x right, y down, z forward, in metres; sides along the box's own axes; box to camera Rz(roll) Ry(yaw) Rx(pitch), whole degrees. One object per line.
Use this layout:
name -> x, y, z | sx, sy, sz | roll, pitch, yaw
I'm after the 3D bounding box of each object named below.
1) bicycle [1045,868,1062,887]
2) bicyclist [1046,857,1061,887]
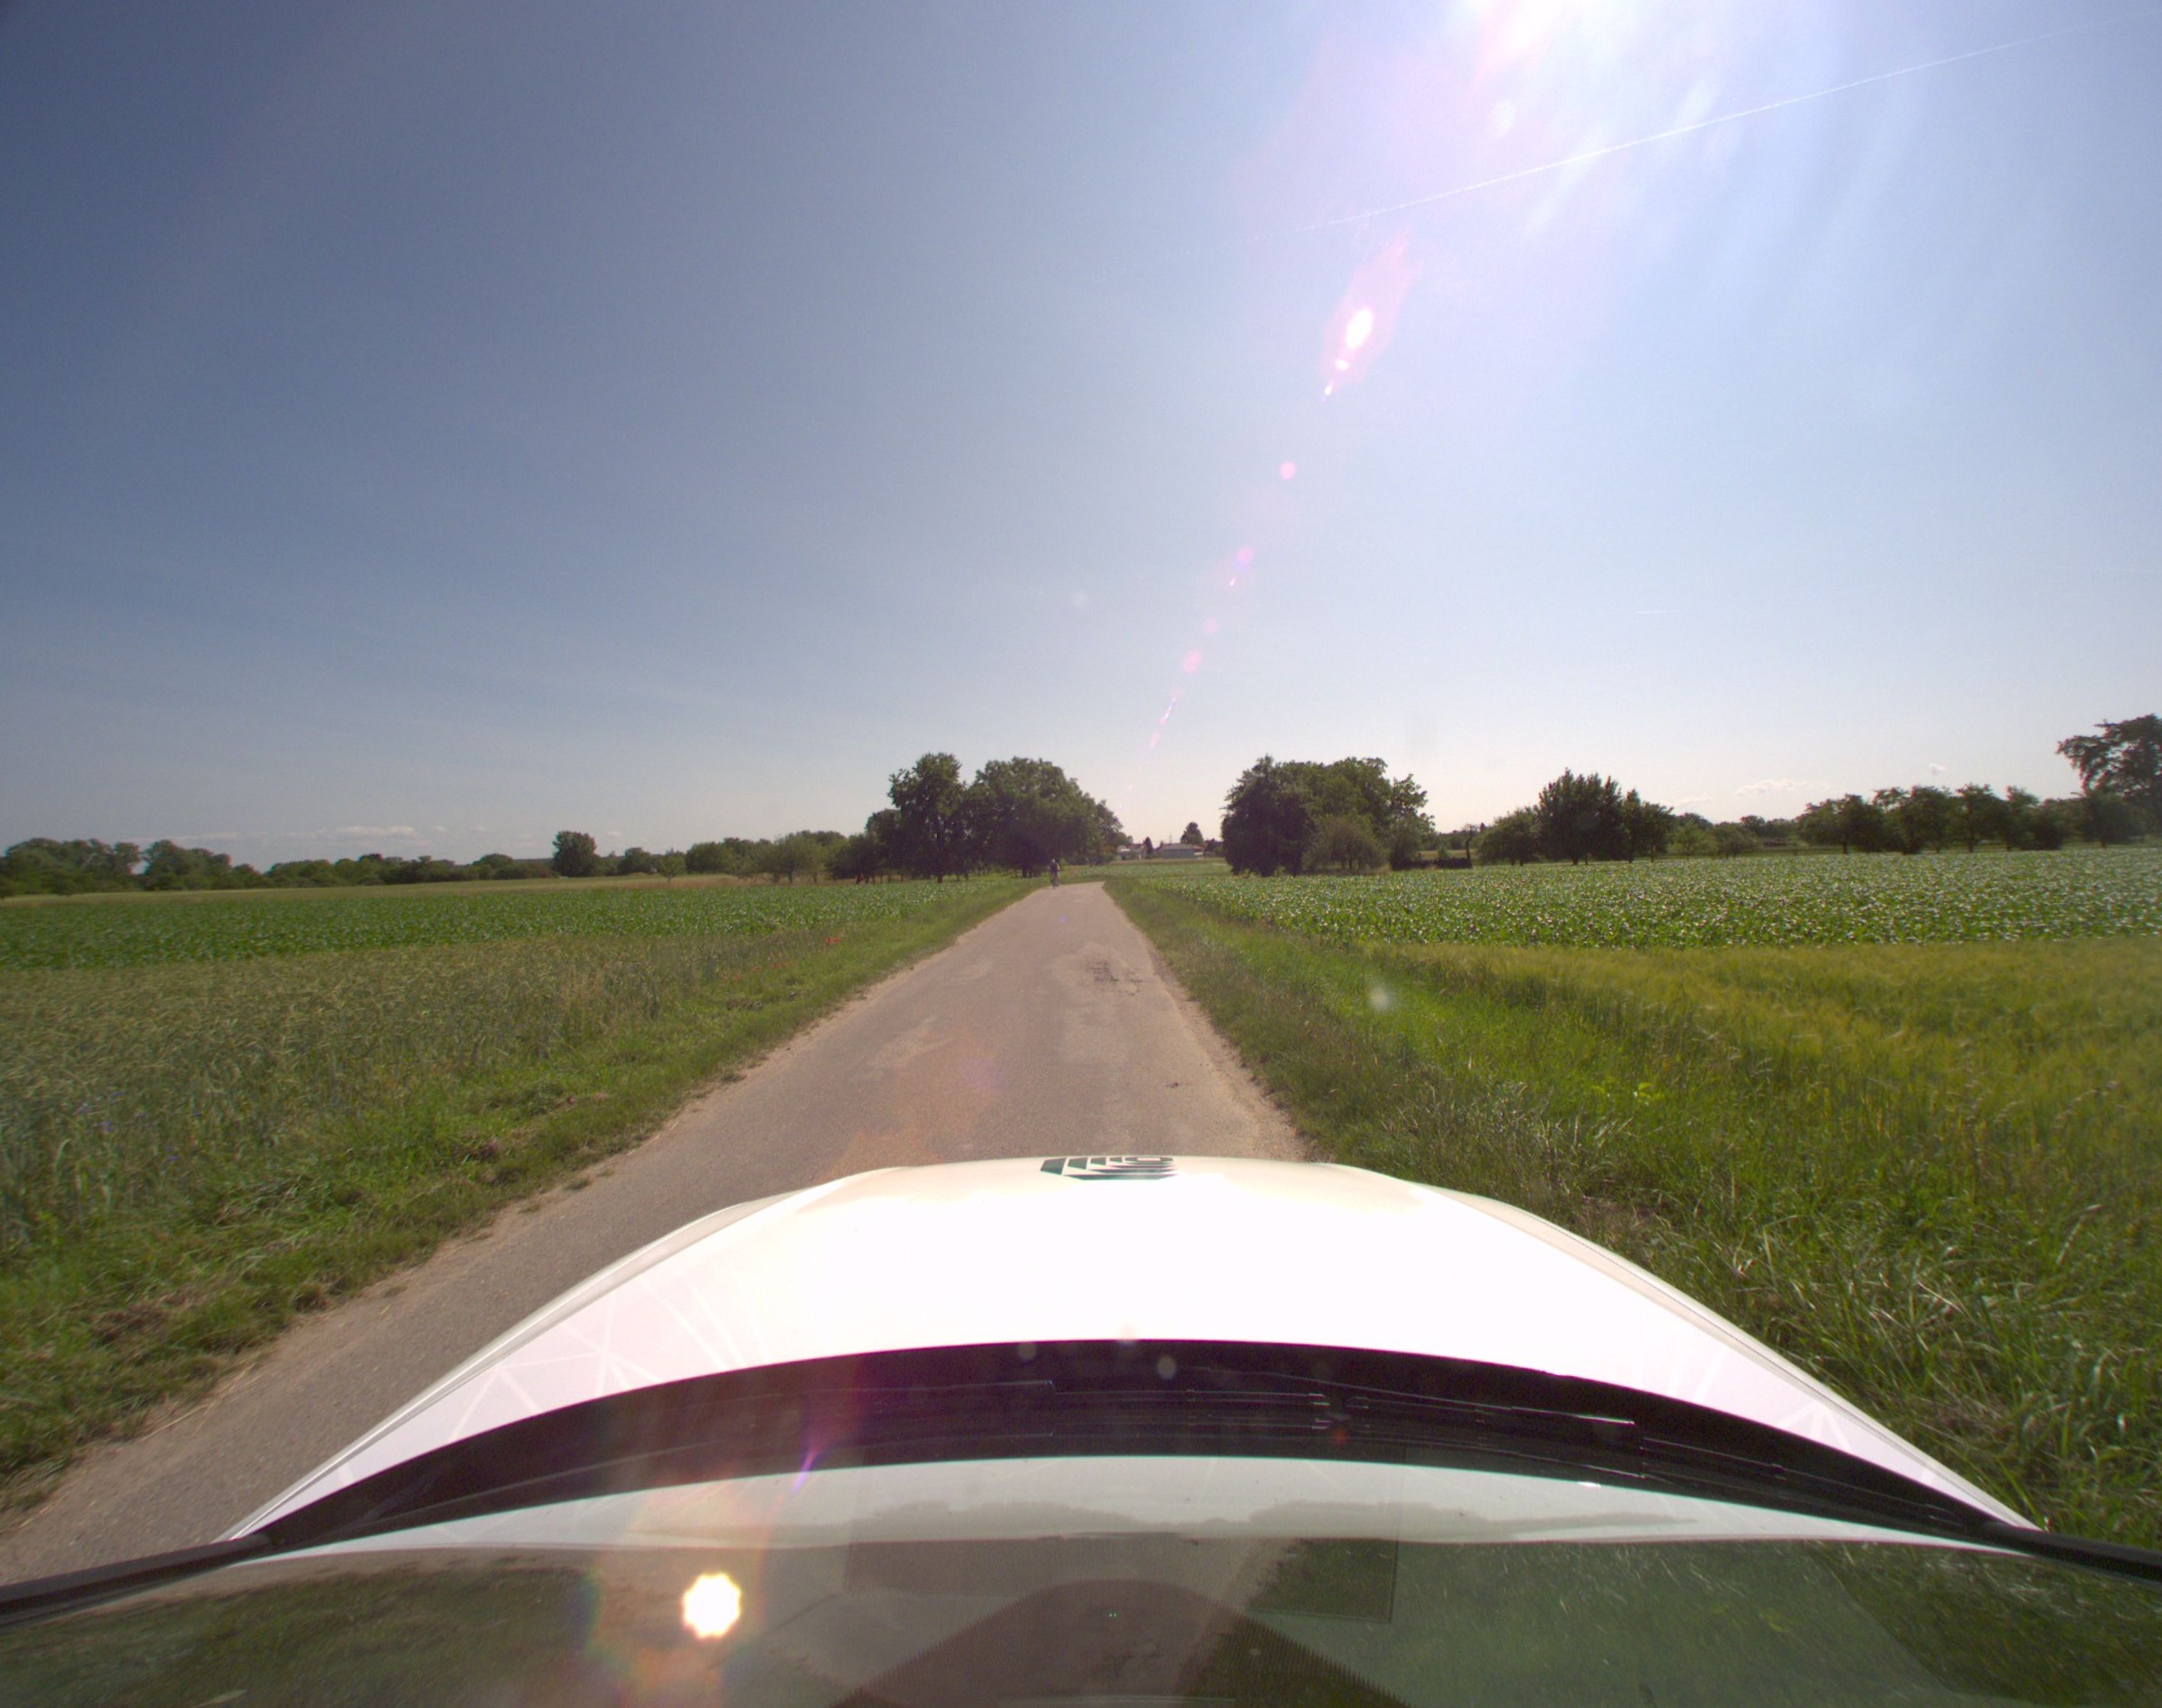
bicycle -> -1.663, 1.441, 50.061 | 0.747, 1.127, 1.911 | -3, -1, 5
bicyclist -> -1.677, 1.120, 50.070 | 0.747, 1.791, 0.718 | -3, -1, 5
